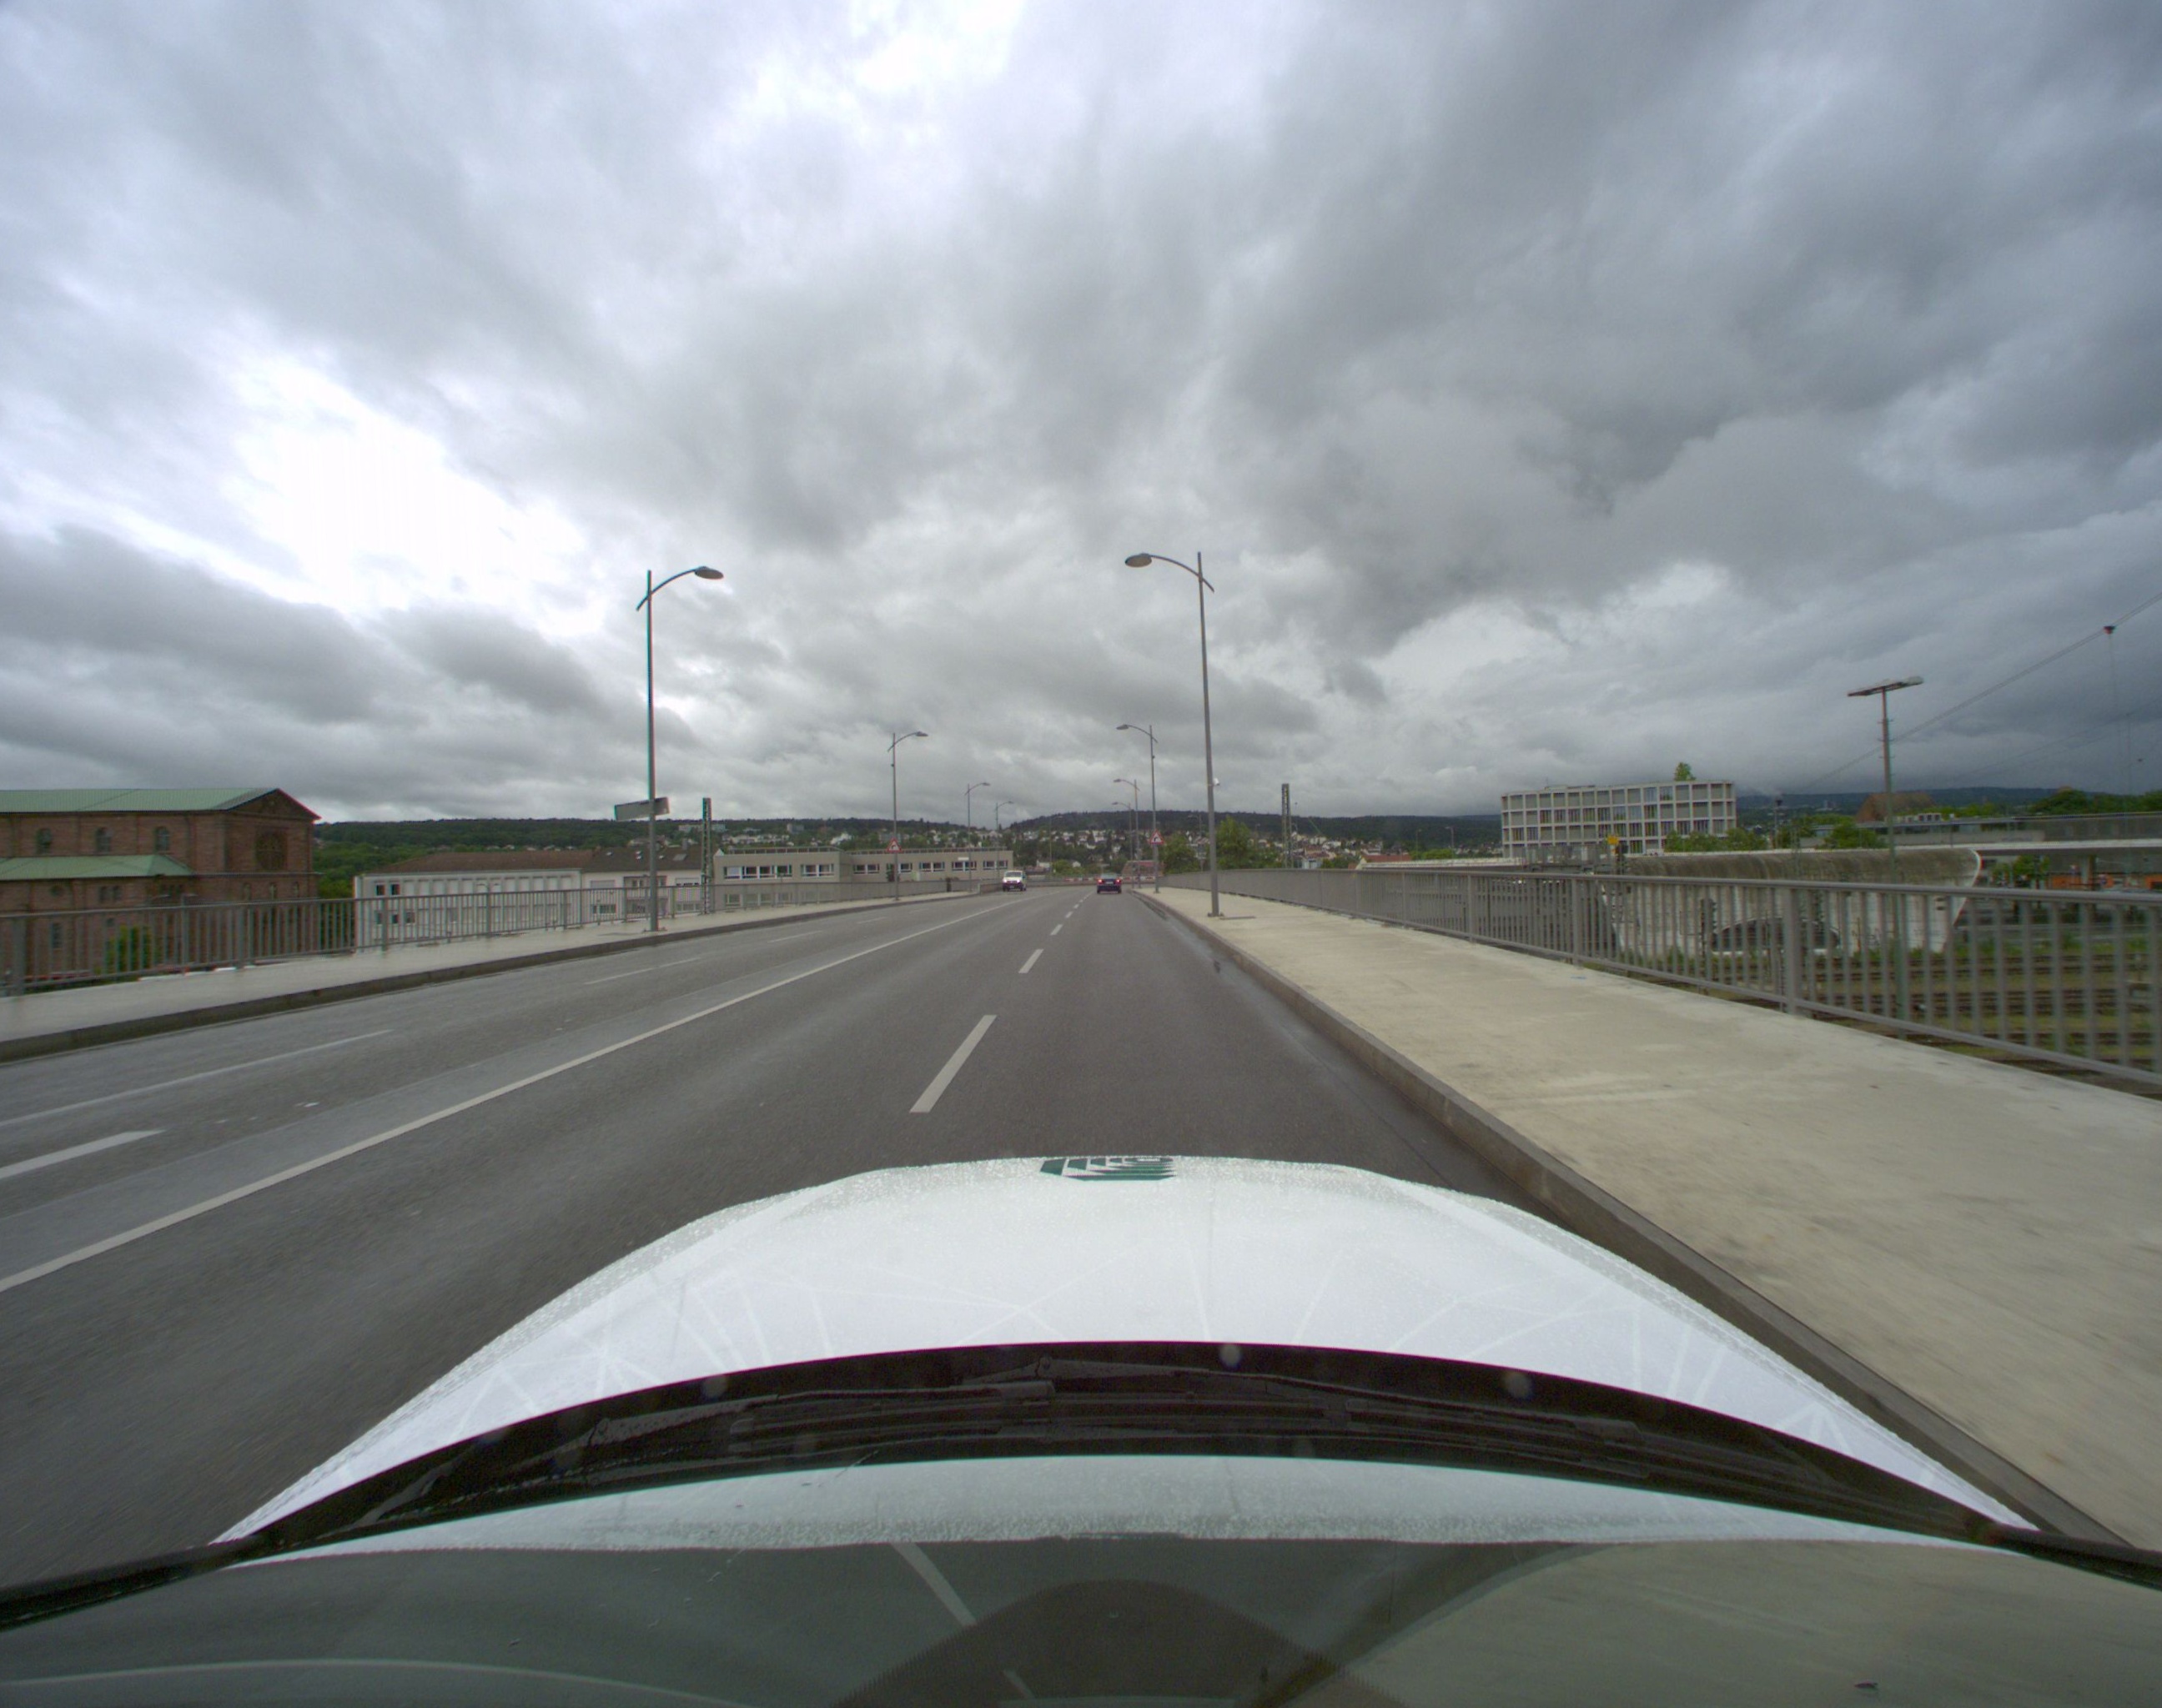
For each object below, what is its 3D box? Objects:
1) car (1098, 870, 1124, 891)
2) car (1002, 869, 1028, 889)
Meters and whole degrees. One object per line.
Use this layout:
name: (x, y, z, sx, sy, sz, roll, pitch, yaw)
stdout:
car: (2.079, 1.852, 56.677, 1.700, 1.420, 3.726, -1, -2, 1)
car: (-6.215, 2.431, 77.252, 1.879, 1.822, 4.960, -1, -2, 2)
